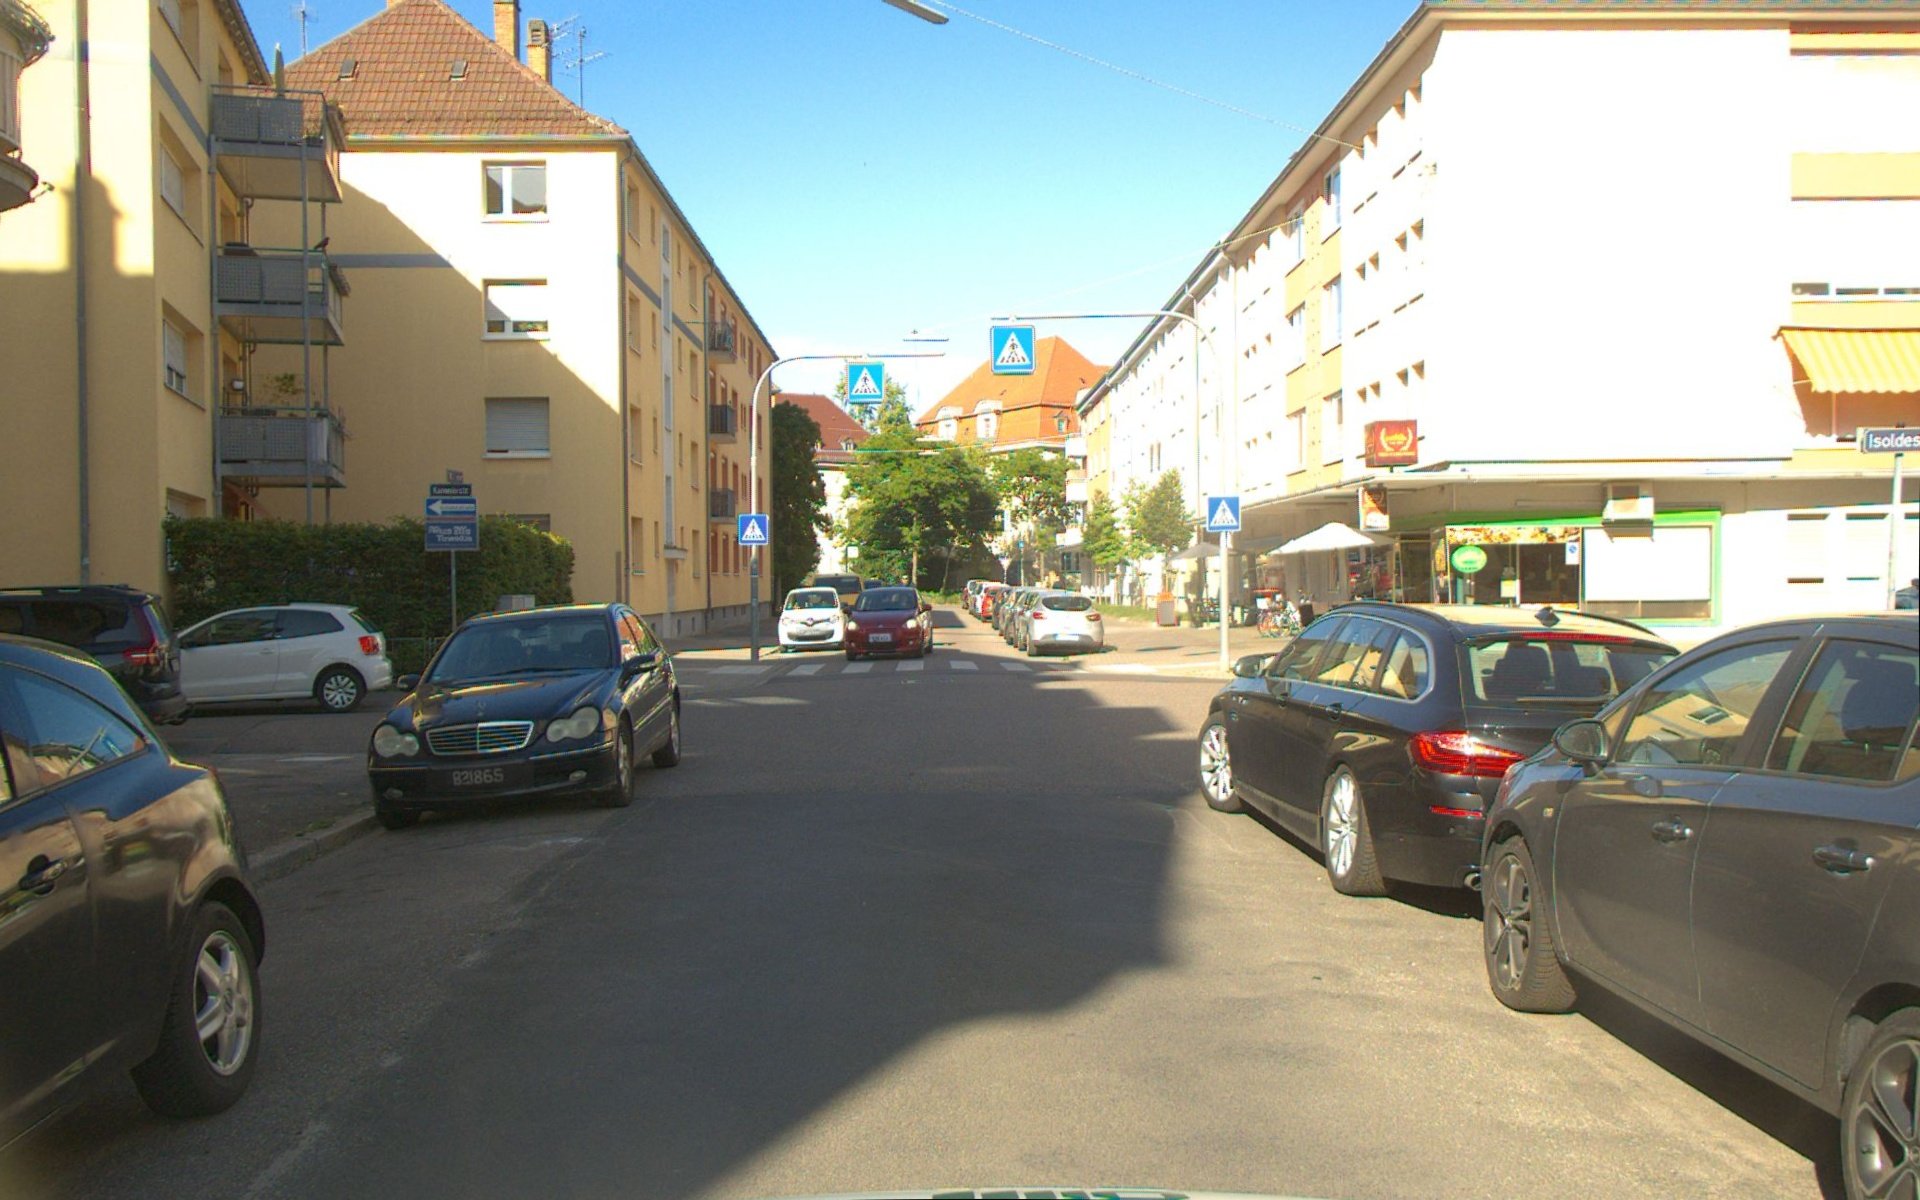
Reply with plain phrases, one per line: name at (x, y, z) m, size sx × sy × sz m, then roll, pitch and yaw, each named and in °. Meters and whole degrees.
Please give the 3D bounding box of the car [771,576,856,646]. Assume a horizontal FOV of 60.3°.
car at (-3.681, 0.235, 42.130) m, size 1.755 × 1.506 × 4.099 m, roll -3°, pitch 2°, yaw -1°

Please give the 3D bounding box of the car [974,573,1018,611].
car at (1.484, -0.363, 68.930) m, size 1.605 × 1.465 × 3.418 m, roll -2°, pitch 1°, yaw -2°

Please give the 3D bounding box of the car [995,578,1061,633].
car at (1.978, 0.123, 48.955) m, size 1.605 × 1.465 × 3.417 m, roll -2°, pitch 1°, yaw -2°

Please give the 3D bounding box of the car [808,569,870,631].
car at (-3.839, -0.052, 52.806) m, size 1.663 × 1.809 × 4.098 m, roll -2°, pitch 1°, yaw -1°

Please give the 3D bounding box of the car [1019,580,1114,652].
car at (2.396, 0.323, 37.926) m, size 1.808 × 1.465 × 3.418 m, roll -2°, pitch 1°, yaw -2°

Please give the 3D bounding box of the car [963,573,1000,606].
car at (1.015, -0.531, 79.822) m, size 1.605 × 1.465 × 3.418 m, roll -2°, pitch 1°, yaw -2°

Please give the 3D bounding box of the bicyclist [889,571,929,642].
bicyclist at (-1.238, 0.150, 40.303) m, size 0.769 × 1.649 × 0.957 m, roll -4°, pitch 1°, yaw 3°

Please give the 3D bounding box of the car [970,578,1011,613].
car at (1.368, -0.212, 75.261) m, size 1.605 × 1.465 × 3.418 m, roll -2°, pitch 1°, yaw -2°

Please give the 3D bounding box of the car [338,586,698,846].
car at (-3.148, 0.713, 12.690) m, size 1.671 × 1.440 × 4.371 m, roll -7°, pitch 1°, yaw -3°

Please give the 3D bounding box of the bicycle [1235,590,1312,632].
bicycle at (7.995, 0.280, 42.210) m, size 1.774 × 0.984 × 0.672 m, roll -3°, pitch 1°, yaw -12°

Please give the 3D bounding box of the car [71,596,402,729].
car at (-9.673, 0.792, 22.439) m, size 3.919 × 1.505 × 1.586 m, roll -3°, pitch 1°, yaw -19°

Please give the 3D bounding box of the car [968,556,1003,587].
car at (1.292, -1.464, 84.598) m, size 1.605 × 1.465 × 3.418 m, roll -2°, pitch 1°, yaw -2°

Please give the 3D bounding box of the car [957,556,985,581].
car at (0.662, -2.009, 103.786) m, size 1.605 × 1.465 × 3.418 m, roll -2°, pitch 1°, yaw -2°

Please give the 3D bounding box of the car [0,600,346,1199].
car at (-2.793, 0.834, 3.376) m, size 1.613 × 1.440 × 4.078 m, roll -6°, pitch 1°, yaw -3°

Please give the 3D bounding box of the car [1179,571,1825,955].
car at (2.603, 0.648, 9.322) m, size 1.817 × 1.550 × 4.774 m, roll -1°, pitch 1°, yaw -3°

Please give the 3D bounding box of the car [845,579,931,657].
car at (-1.489, 0.346, 35.312) m, size 1.663 × 1.465 × 3.419 m, roll -2°, pitch 1°, yaw -1°

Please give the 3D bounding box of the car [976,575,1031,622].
car at (1.474, -0.083, 56.971) m, size 1.605 × 1.465 × 3.417 m, roll -2°, pitch 1°, yaw -2°

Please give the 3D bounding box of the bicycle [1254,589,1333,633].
bicycle at (8.254, 0.272, 40.969) m, size 1.774 × 0.984 × 0.672 m, roll -3°, pitch 1°, yaw -12°

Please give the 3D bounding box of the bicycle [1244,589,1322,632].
bicycle at (8.112, 0.261, 41.561) m, size 1.774 × 0.984 × 0.672 m, roll -3°, pitch 1°, yaw -12°

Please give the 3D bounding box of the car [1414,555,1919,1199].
car at (2.767, 0.615, 4.768) m, size 1.612 × 1.485 × 3.937 m, roll -1°, pitch 1°, yaw -3°

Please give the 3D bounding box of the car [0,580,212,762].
car at (-9.890, 0.722, 16.253) m, size 4.398 × 1.643 × 1.768 m, roll -3°, pitch 1°, yaw -19°

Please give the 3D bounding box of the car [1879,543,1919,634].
car at (18.107, -0.216, 29.331) m, size 1.547 × 1.641 × 3.474 m, roll -2°, pitch 1°, yaw -2°

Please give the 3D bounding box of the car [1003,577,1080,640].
car at (2.071, 0.194, 42.757) m, size 1.657 × 1.465 × 3.417 m, roll -2°, pitch 1°, yaw -2°
